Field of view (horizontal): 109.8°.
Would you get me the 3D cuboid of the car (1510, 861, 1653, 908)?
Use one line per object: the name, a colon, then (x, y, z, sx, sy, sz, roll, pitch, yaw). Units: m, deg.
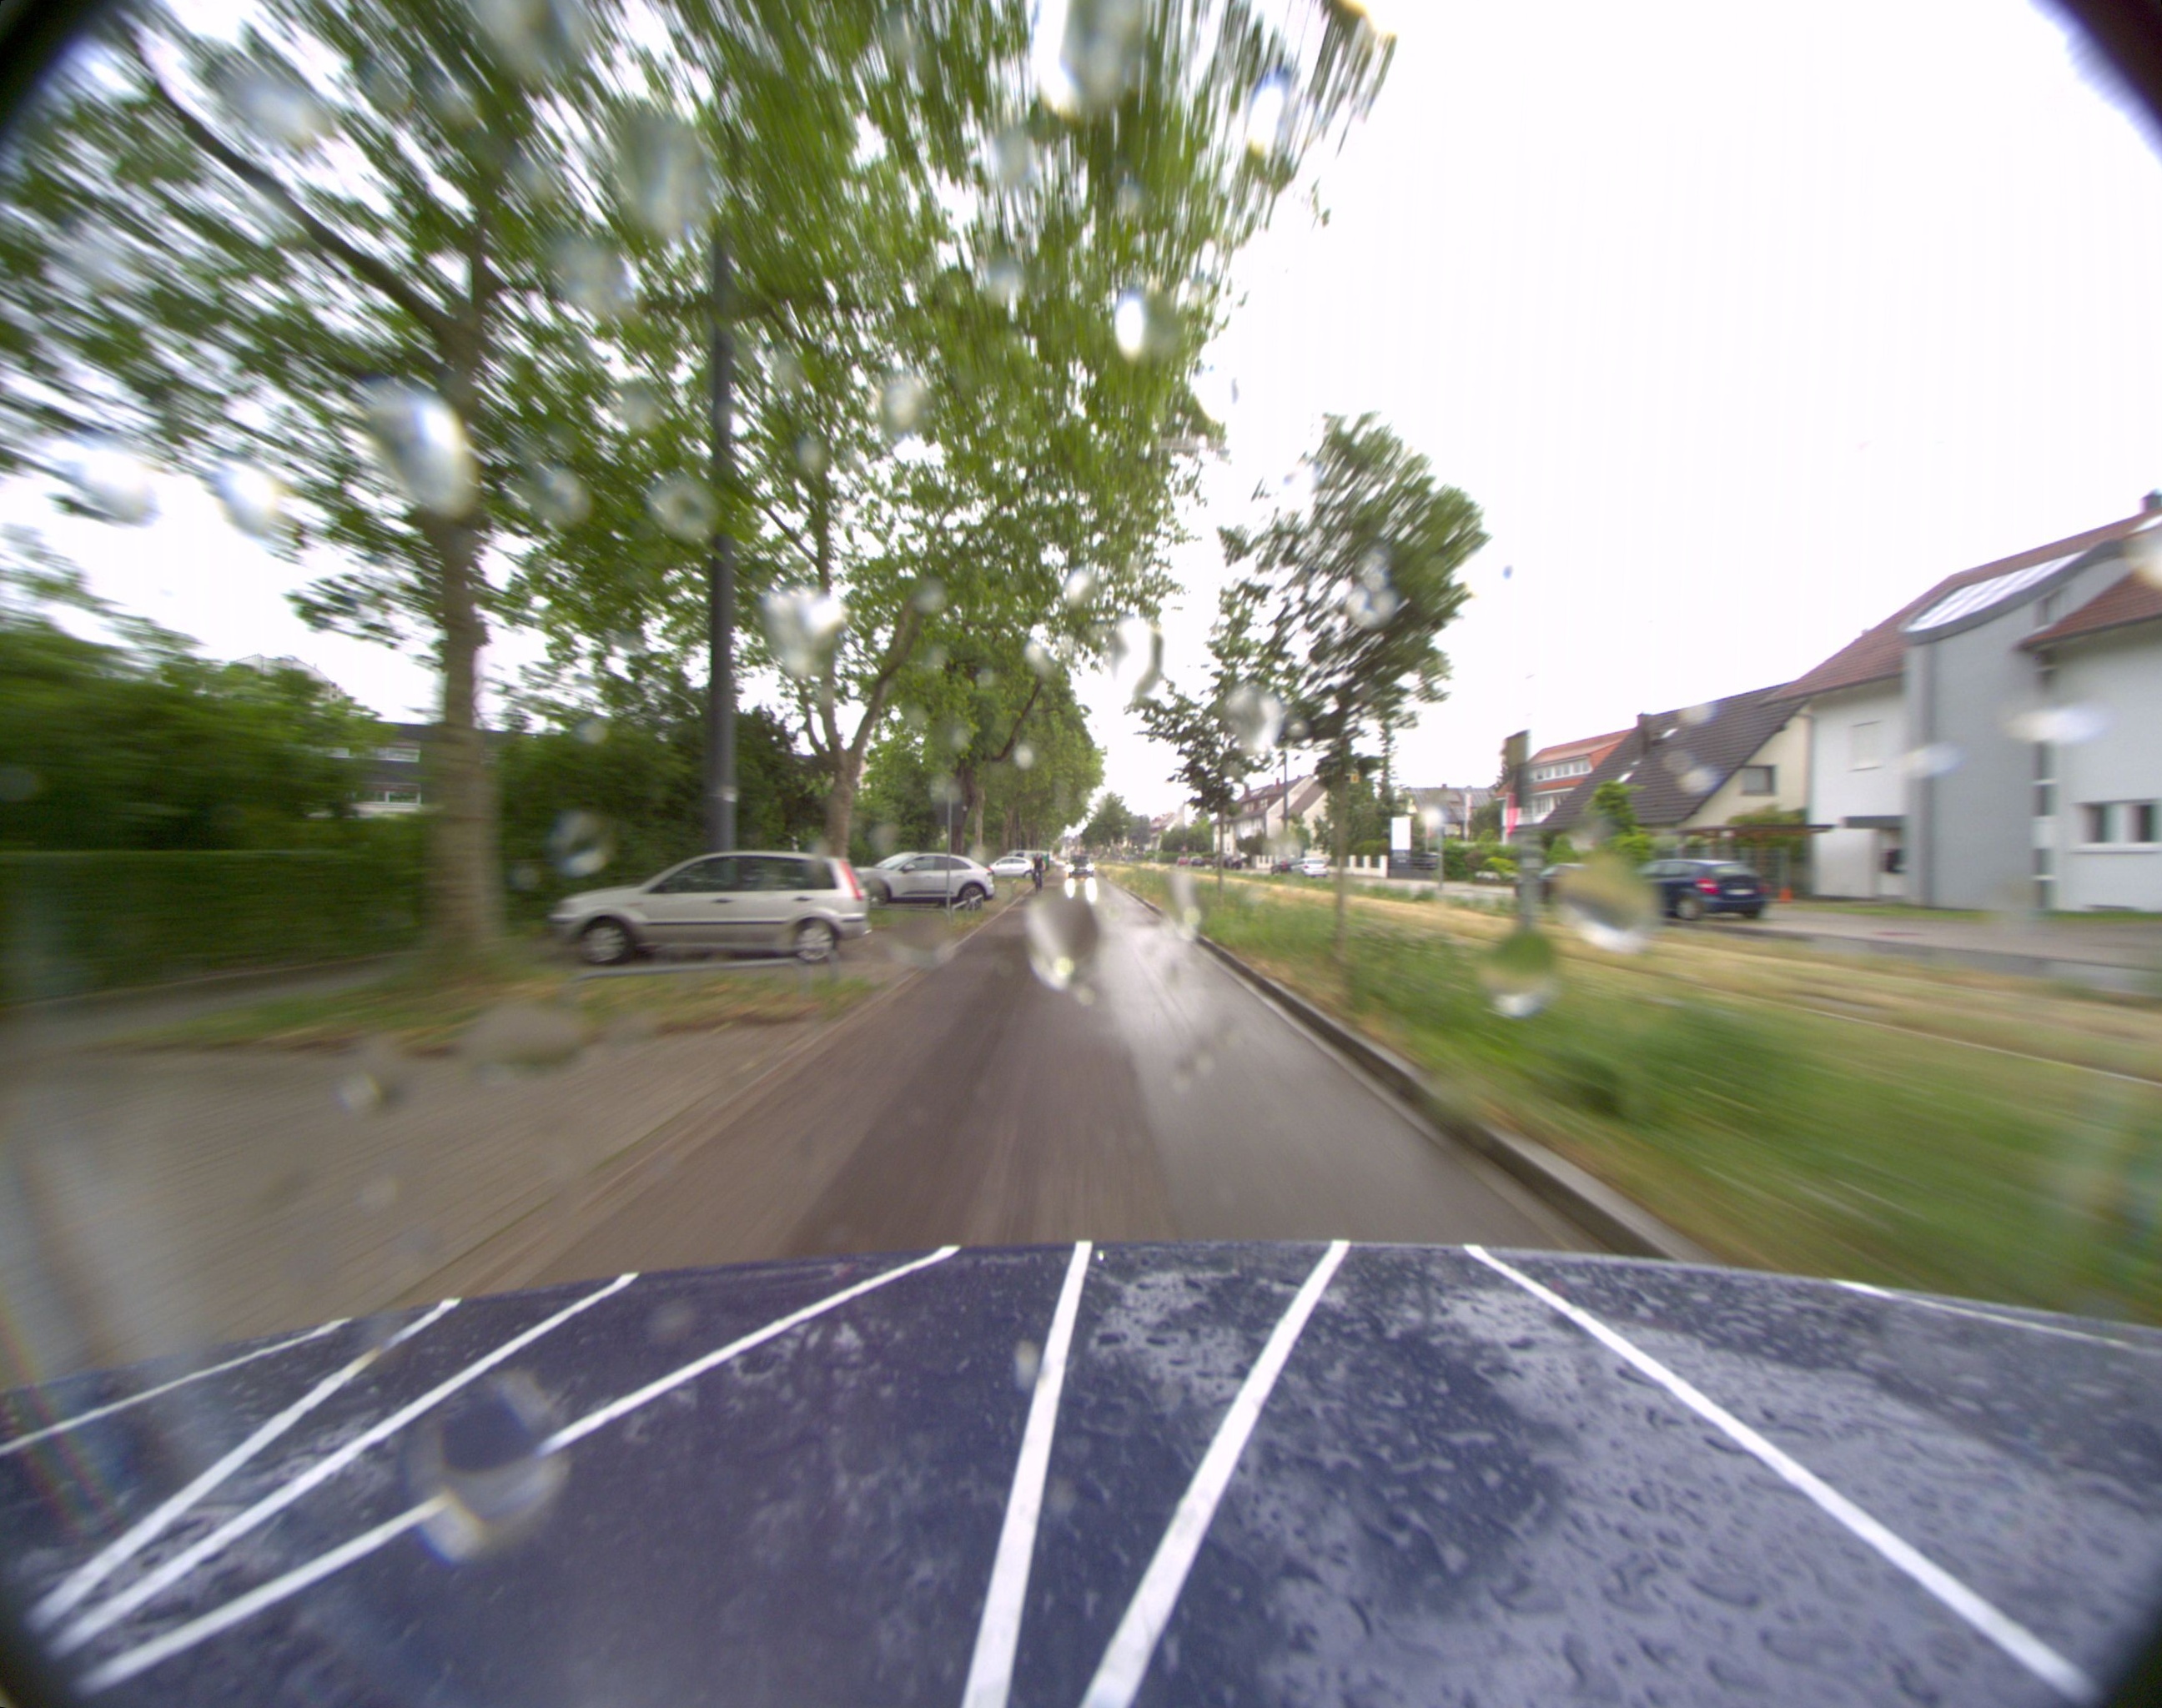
car: (16.488, 0.943, 25.328, 1.998, 1.342, 4.240, -2, 0, 1)

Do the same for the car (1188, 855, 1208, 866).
car: (15.808, 0.889, 102.870, 1.998, 1.402, 4.762, -2, 0, 1)

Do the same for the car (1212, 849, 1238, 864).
car: (16.290, 0.260, 86.055, 1.999, 1.665, 4.386, -1, 1, -2)

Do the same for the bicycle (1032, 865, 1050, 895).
bicycle: (-1.687, 1.064, 31.867, 0.675, 1.136, 2.444, 2, 0, -5)

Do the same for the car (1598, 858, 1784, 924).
car: (16.307, 0.910, 20.591, 1.878, 1.541, 3.870, -2, 0, -1)

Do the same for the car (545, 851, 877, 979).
car: (-4.905, 0.787, 10.605, 3.871, 1.557, 1.616, 2, 0, -18)

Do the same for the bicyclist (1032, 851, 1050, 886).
bicyclist: (-1.675, 0.594, 31.828, 0.675, 1.421, 0.753, 2, 1, -5)

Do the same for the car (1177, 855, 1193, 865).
car: (15.638, 0.886, 114.385, 1.802, 1.448, 4.000, -2, 0, 1)

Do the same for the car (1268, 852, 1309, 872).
car: (16.220, 0.591, 59.510, 1.998, 1.447, 4.531, -2, 0, 1)

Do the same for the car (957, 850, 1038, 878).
car: (-5.107, 0.646, 46.699, 4.570, 1.535, 1.883, 3, -1, -32)

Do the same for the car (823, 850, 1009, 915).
car: (-4.644, 0.738, 21.722, 4.784, 1.658, 1.989, 0, 1, -37)

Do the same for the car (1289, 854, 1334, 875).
car: (16.433, 0.751, 54.350, 1.999, 1.402, 3.971, -2, 0, -1)

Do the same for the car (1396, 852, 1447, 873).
car: (23.660, 0.572, 52.954, 1.703, 1.402, 3.971, -2, 0, -1)

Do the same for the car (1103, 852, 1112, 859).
car: (8.162, 0.367, 233.571, 2.000, 2.002, 3.997, 0, 0, -7)

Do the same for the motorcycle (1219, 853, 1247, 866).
motorcycle: (16.200, 0.575, 81.081, 2.680, 1.403, 1.269, 0, 2, 41)

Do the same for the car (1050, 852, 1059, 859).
car: (-5.665, 0.291, 161.682, 1.781, 1.477, 3.999, 2, 0, -2)

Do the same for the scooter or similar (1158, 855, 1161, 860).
scooter or similar: (15.983, 0.705, 154.741, 0.347, 0.905, 1.258, 0, 0, -6)

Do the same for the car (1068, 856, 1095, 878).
car: (0.023, 0.903, 54.925, 1.781, 1.477, 3.999, 2, 0, -2)

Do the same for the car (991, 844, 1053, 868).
car: (-5.064, 0.191, 65.975, 5.040, 2.001, 1.995, 2, -1, -35)

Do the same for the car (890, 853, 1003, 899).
car: (-4.863, 0.771, 27.637, 3.721, 1.557, 1.615, 1, 0, -33)

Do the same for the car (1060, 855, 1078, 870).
car: (-1.281, 0.862, 81.055, 1.781, 1.477, 3.999, 2, 0, -2)
